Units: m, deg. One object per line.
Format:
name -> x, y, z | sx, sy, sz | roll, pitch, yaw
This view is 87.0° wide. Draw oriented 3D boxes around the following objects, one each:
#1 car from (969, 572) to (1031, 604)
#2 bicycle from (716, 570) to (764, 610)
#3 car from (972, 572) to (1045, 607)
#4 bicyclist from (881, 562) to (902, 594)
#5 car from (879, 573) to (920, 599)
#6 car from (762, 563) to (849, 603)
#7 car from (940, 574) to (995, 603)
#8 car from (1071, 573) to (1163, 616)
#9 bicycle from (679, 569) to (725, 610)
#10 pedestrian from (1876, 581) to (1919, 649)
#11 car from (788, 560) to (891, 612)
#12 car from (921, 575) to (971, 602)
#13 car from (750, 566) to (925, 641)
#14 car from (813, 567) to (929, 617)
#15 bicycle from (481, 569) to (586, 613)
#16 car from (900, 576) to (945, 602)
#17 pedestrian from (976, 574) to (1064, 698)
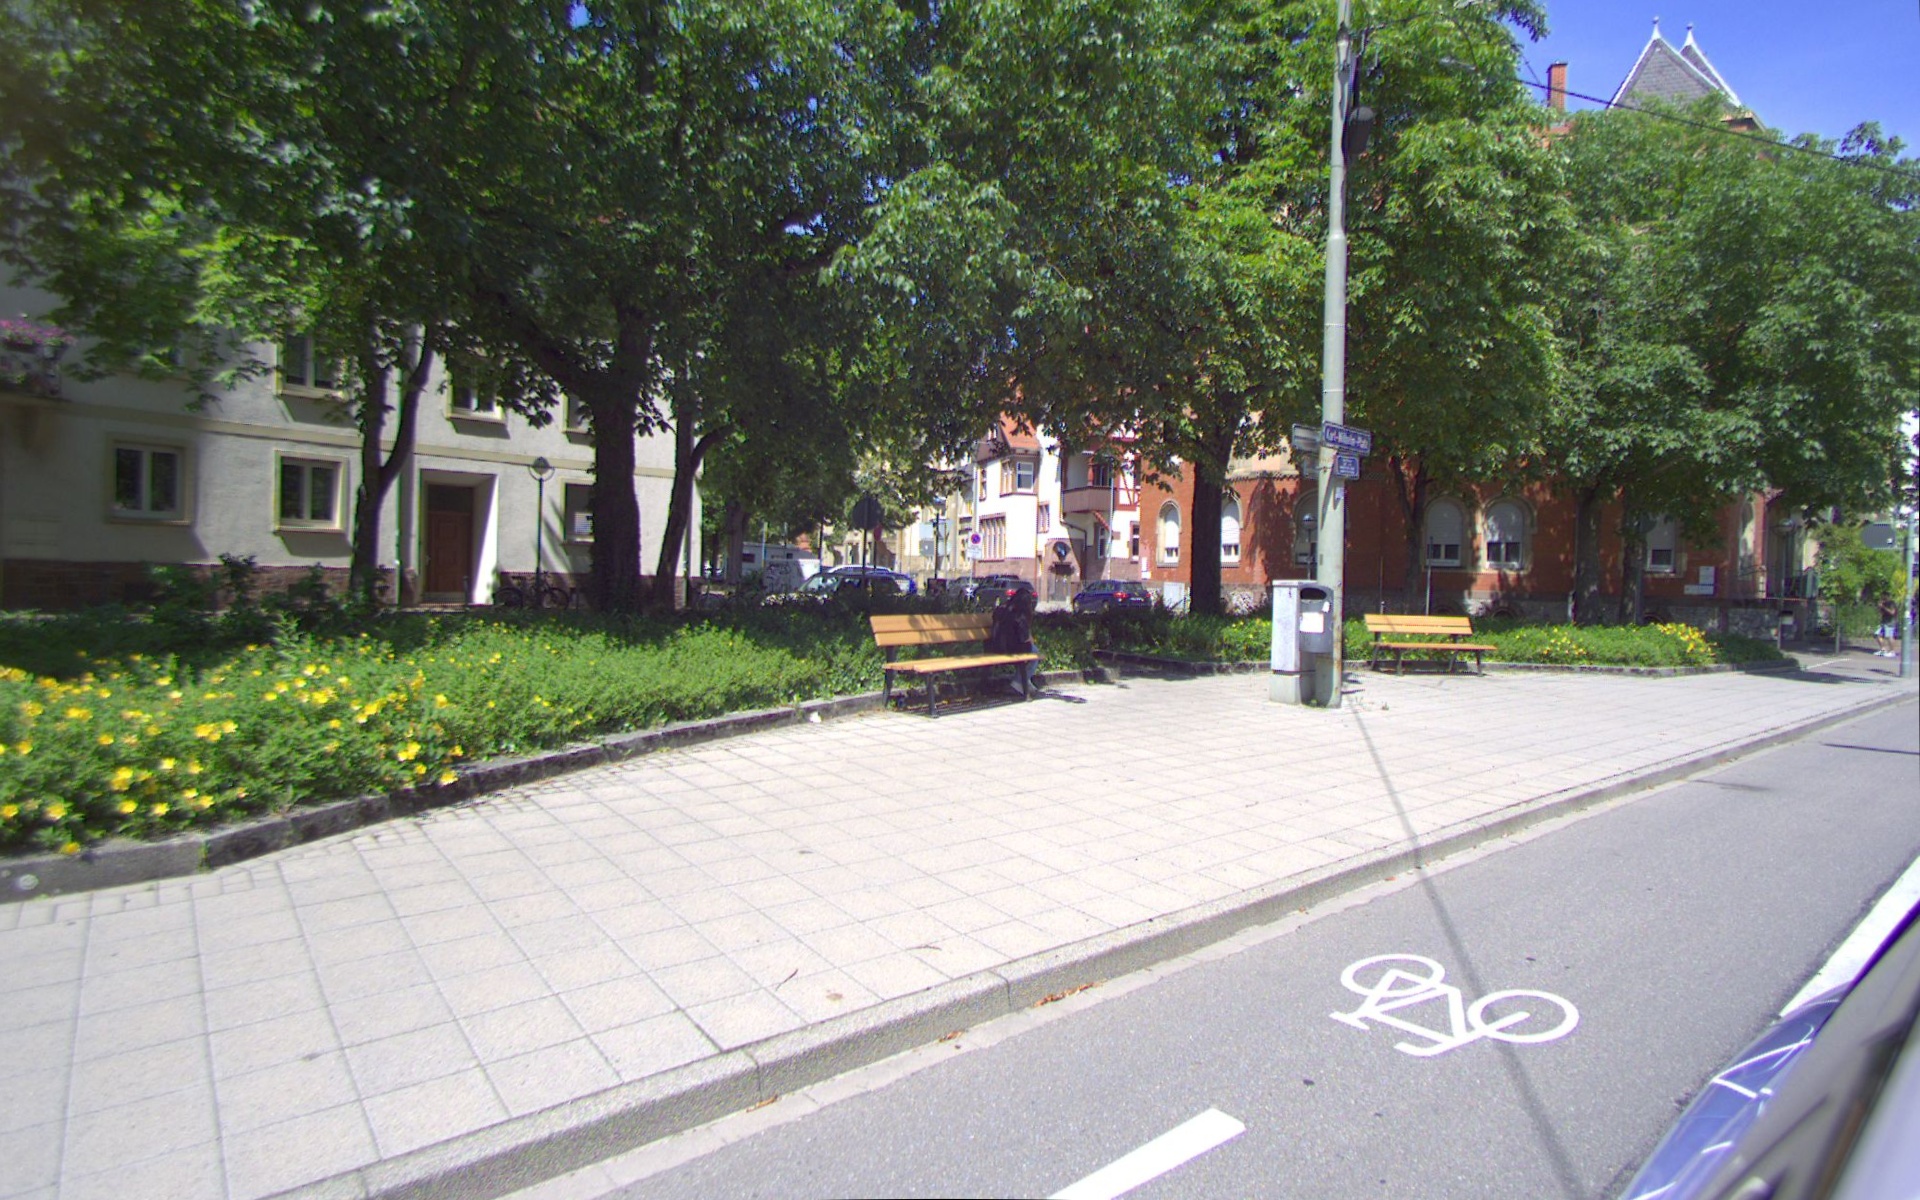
car -> 2.070, -0.622, 54.078 | 1.897, 1.638, 4.318 | 0, 0, -19
bicycle -> -5.864, -0.270, 26.907 | 0.736, 1.024, 2.273 | 0, 0, -26
car -> 2.121, -0.463, 45.932 | 1.897, 1.501, 5.045 | 0, 0, -15
bicyclist -> -3.711, -1.164, 54.783 | 0.856, 1.717, 1.257 | 0, 0, -15
car -> -4.498, -1.008, 74.464 | 1.897, 1.897, 4.318 | 0, 0, -19
car -> -8.080, -0.885, 52.941 | 4.219, 2.029, 1.942 | 0, 0, -18
car -> 0.384, -0.656, 58.685 | 1.897, 1.638, 4.318 | 0, 0, -19
car -> 6.279, -0.235, 41.028 | 1.897, 1.638, 4.318 | 0, 0, -19
bicycle -> -6.771, -0.262, 26.478 | 0.736, 1.024, 2.273 | 0, 0, -26
pedestrian -> 26.252, 0.394, 28.250 | 0.831, 1.846, 0.667 | 2, 1, 29
car -> -5.367, -0.630, 44.831 | 4.219, 2.219, 1.942 | 0, 0, -18
car -> -0.914, -0.693, 63.255 | 1.897, 1.638, 4.318 | 0, 0, -19
car -> -2.650, 0.072, 22.384 | 1.699, 1.525, 3.596 | 2, 1, 42
car -> -3.540, -0.324, 40.019 | 4.219, 1.903, 1.942 | 0, 0, -18
bicycle -> -10.248, -0.224, 24.378 | 2.230, 1.024, 0.751 | -1, 0, -41
car -> -2.562, -0.729, 67.952 | 1.897, 1.638, 4.318 | 0, 0, -19
pedestrian -> 0.603, 0.334, 10.077 | 0.562, 1.156, 0.718 | 3, 2, 33
